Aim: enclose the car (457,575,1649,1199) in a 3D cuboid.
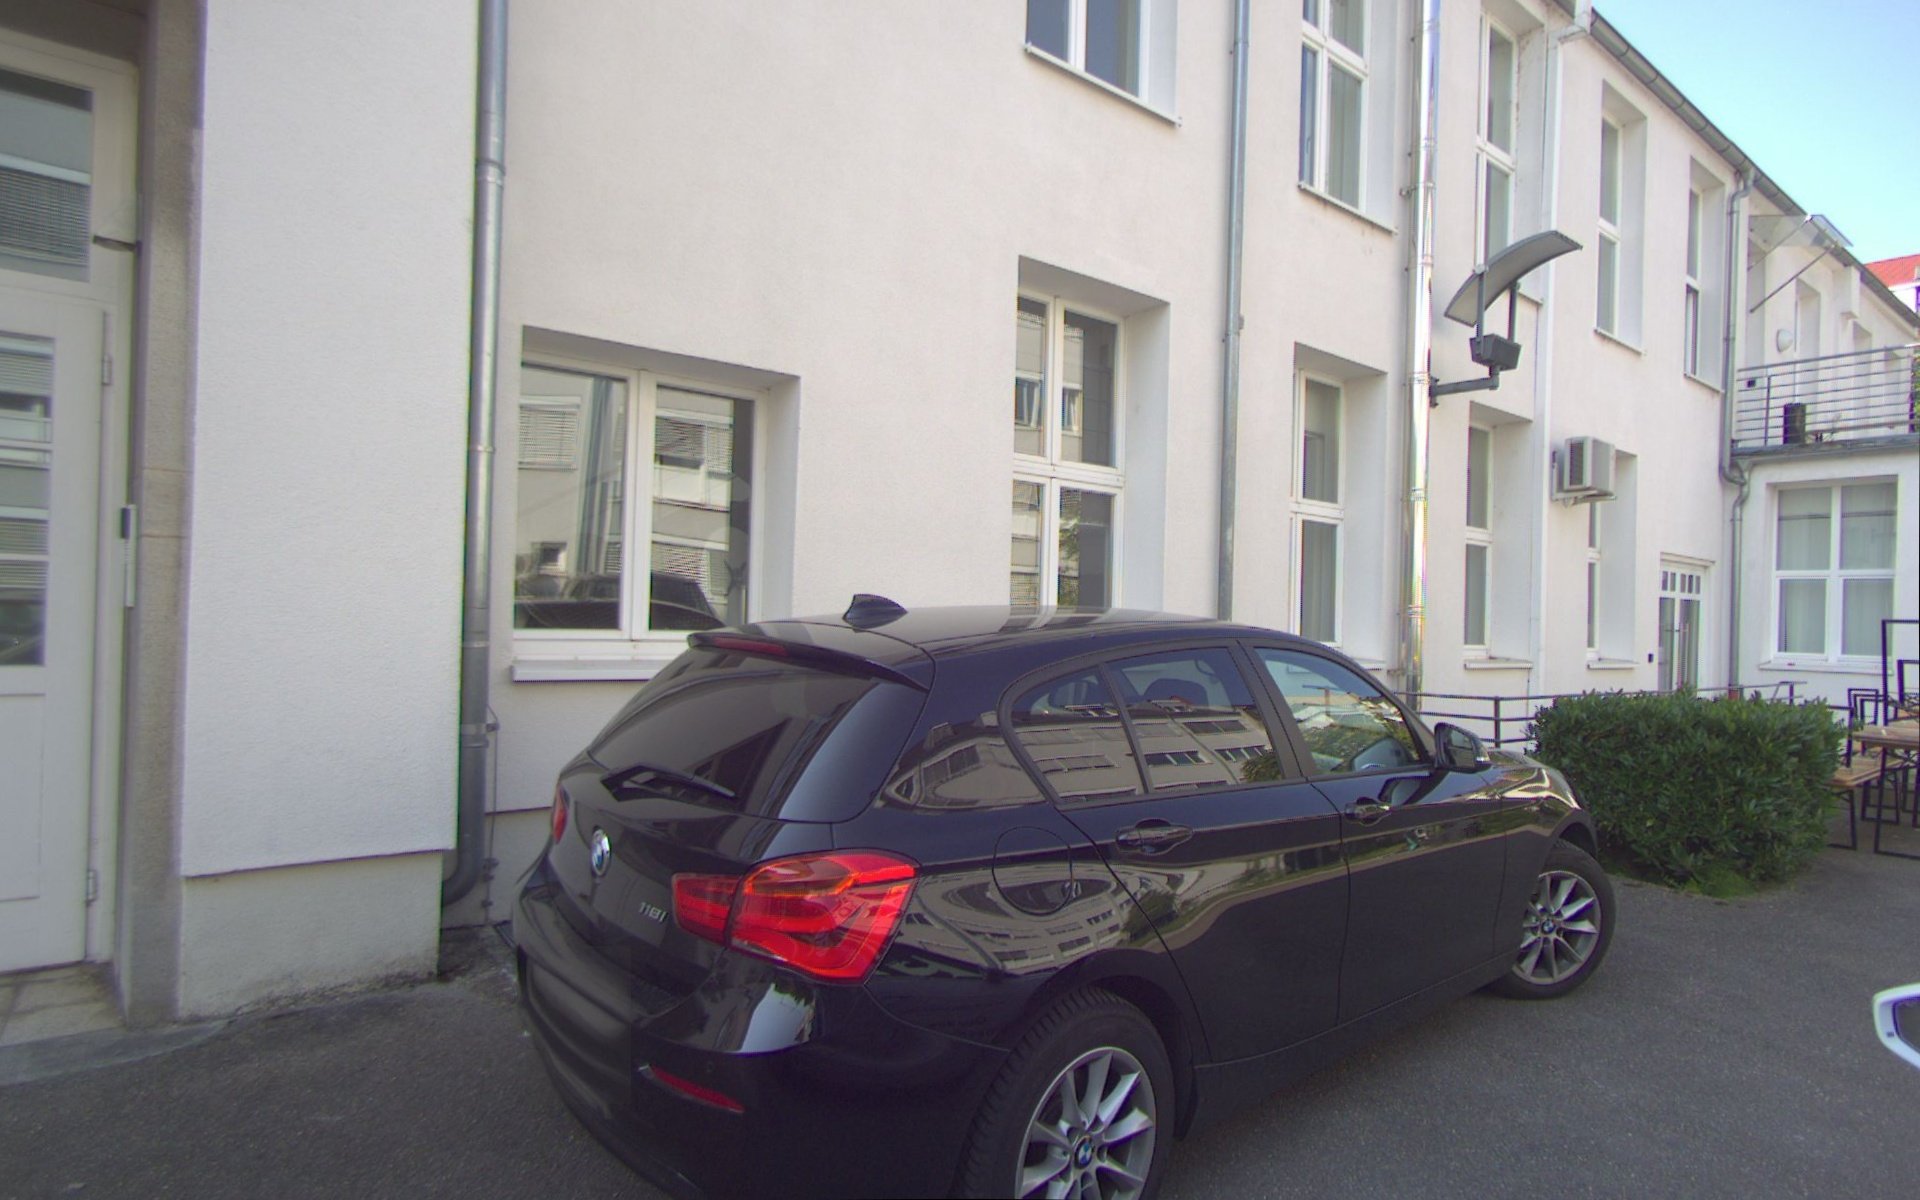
[{"bbox_3d":[0.702,0.728,3.517,4.103,1.447,1.778,2,0,-40],"label":"car"}]
